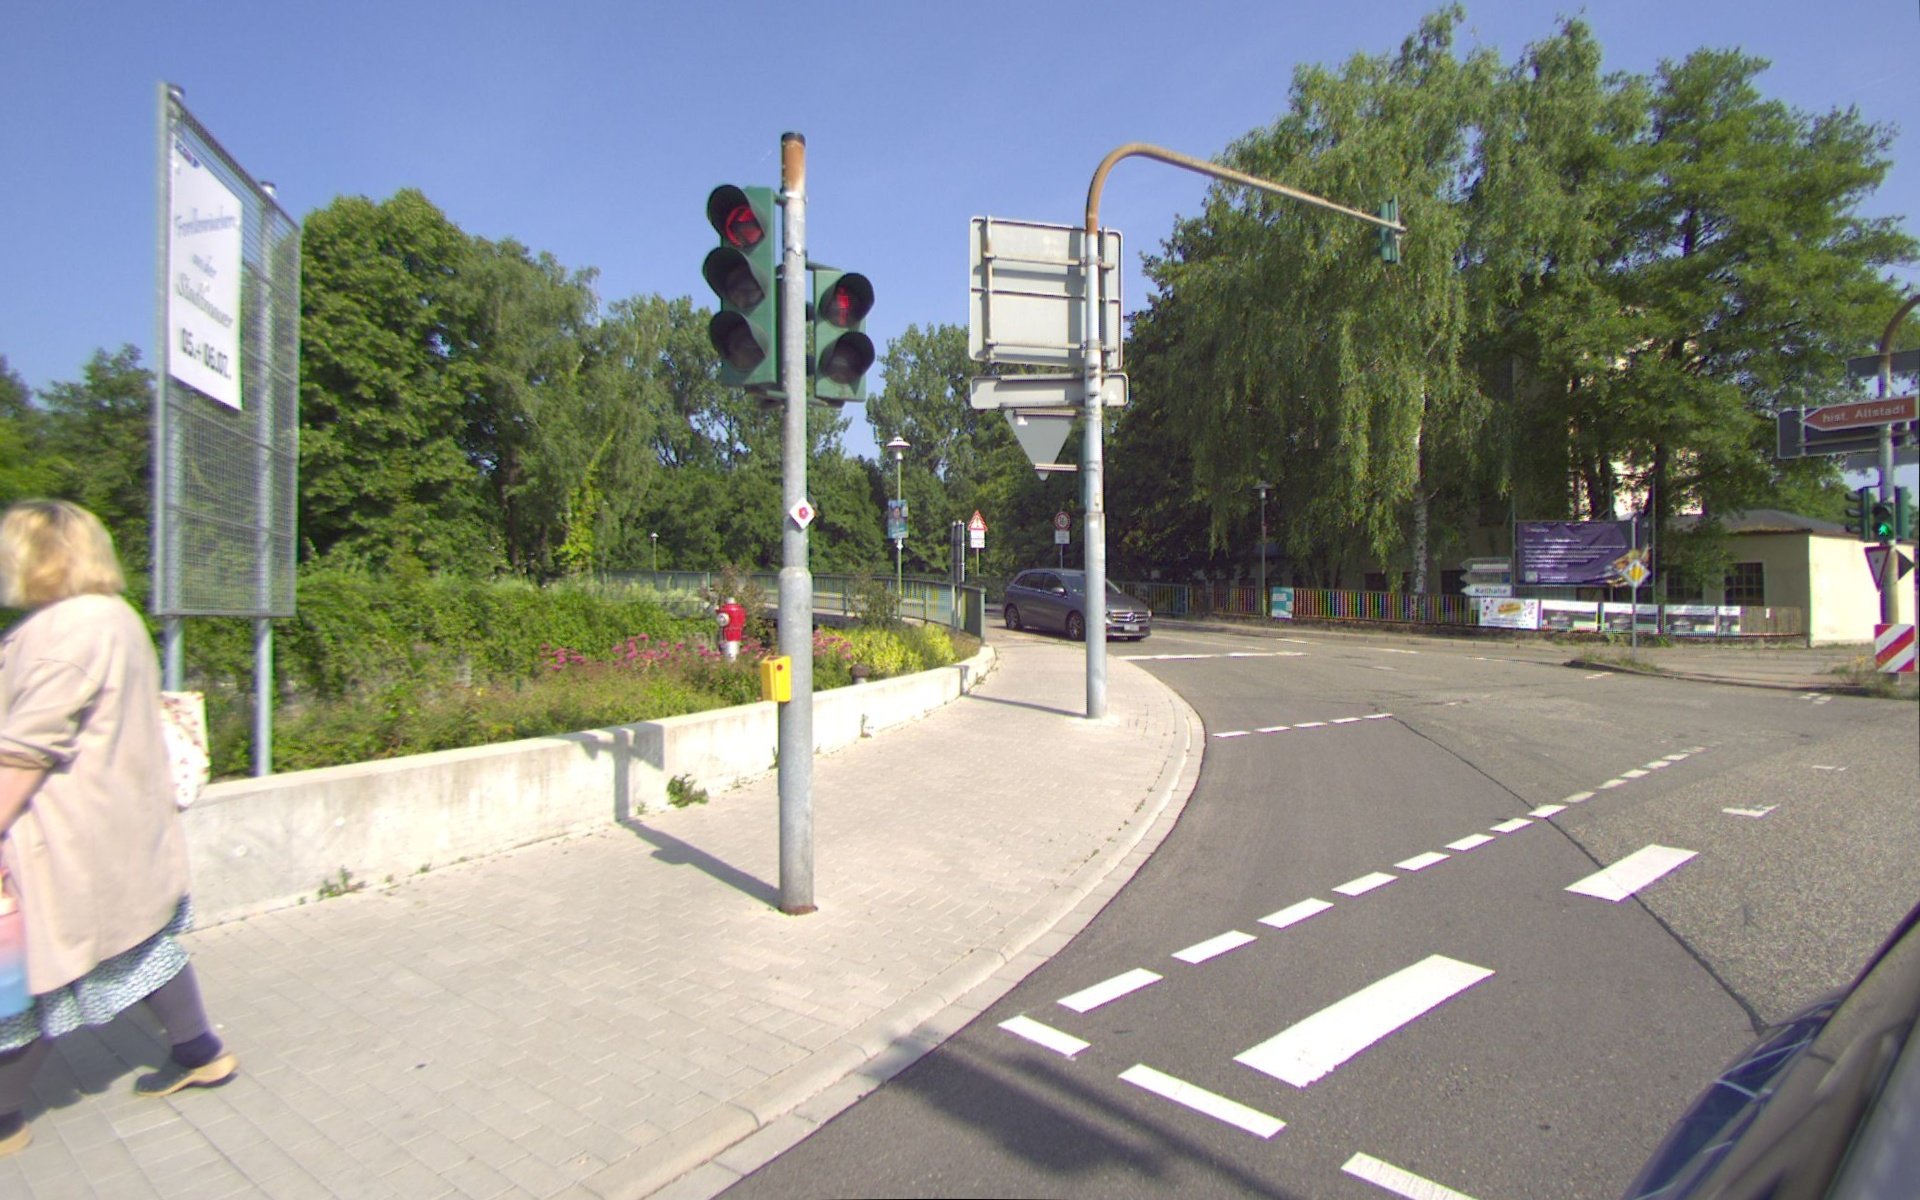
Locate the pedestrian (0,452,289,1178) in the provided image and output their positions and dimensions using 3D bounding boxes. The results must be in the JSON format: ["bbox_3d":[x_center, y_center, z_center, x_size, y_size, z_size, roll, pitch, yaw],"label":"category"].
[{"bbox_3d":[-2.316,0.498,2.712,0.581,1.692,0.713,-1,0,-5],"label":"pedestrian"}]

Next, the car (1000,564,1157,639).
[{"bbox_3d":[2.602,-0.042,23.177,1.633,1.537,4.092,-1,2,-26],"label":"car"}]
